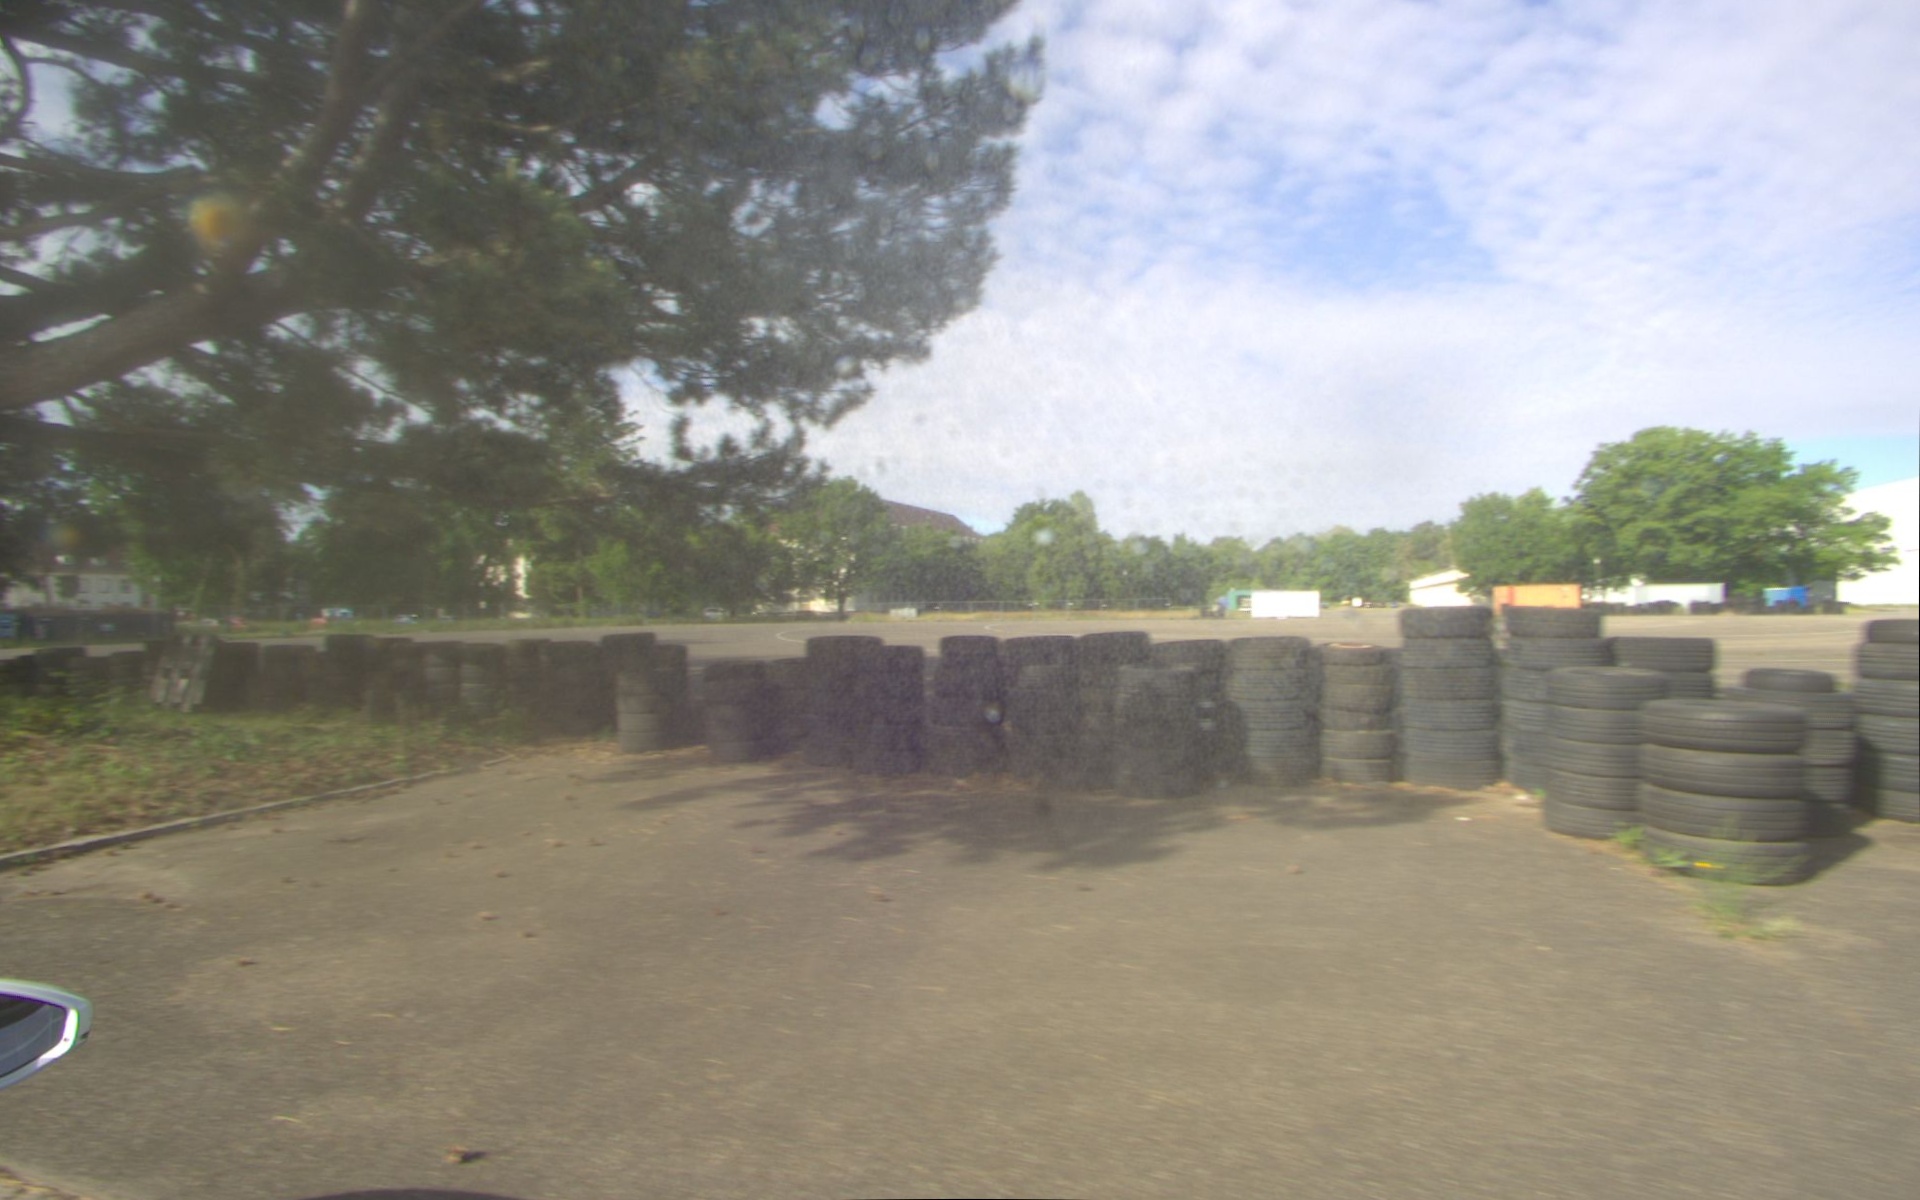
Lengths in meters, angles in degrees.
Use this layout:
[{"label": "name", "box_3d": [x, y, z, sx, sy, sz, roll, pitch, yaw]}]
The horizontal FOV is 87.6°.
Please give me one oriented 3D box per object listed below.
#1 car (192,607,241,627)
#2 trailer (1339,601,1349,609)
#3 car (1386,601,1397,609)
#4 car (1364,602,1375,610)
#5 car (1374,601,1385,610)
[{"label": "car", "box_3d": [-67.862, 1.563, 91.416, 3.936, 1.773, 1.992, -1, 0, 27]}, {"label": "trailer", "box_3d": [89.334, 1.169, 232.817, 1.965, 2.040, 3.992, 0, 0, 19]}, {"label": "car", "box_3d": [97.705, 1.102, 226.611, 1.964, 1.773, 3.993, 0, 0, 18]}, {"label": "car", "box_3d": [93.215, 1.284, 228.139, 1.964, 1.773, 3.993, 0, 0, 18]}, {"label": "car", "box_3d": [95.369, 1.228, 227.510, 2.002, 1.832, 3.993, -1, 0, 18]}]
